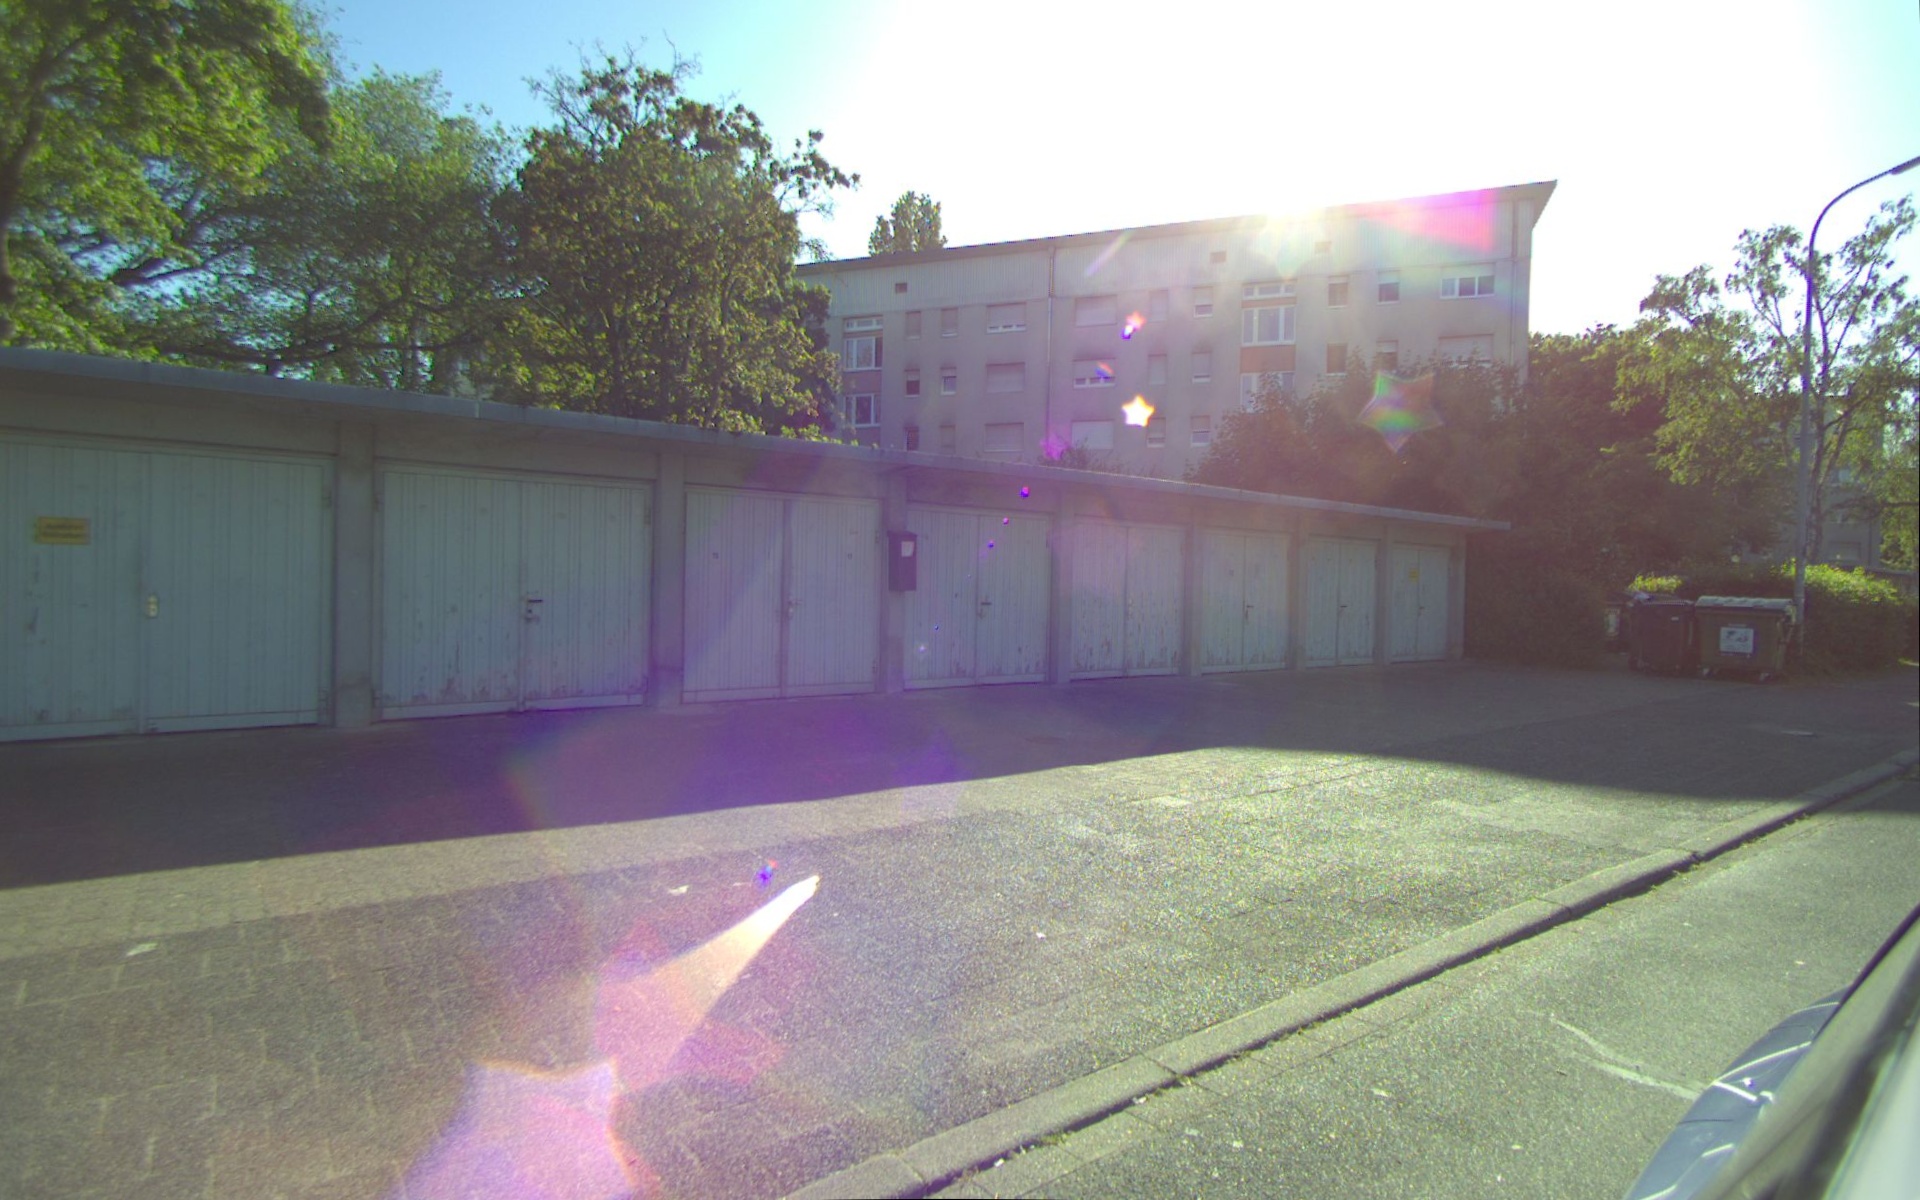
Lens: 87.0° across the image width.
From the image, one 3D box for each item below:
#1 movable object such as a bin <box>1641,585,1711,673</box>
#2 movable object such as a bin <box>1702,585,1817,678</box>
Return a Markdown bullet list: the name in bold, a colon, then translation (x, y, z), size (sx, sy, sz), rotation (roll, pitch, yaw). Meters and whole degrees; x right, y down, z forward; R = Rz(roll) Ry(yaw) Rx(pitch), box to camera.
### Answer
- **movable object such as a bin**: translation (12.599, 0.492, 17.801), size (0.833, 1.459, 0.754), rotation (-1, 3, -39)
- **movable object such as a bin**: translation (13.661, 0.495, 17.304), size (1.159, 1.459, 1.278), rotation (-1, 3, -39)
